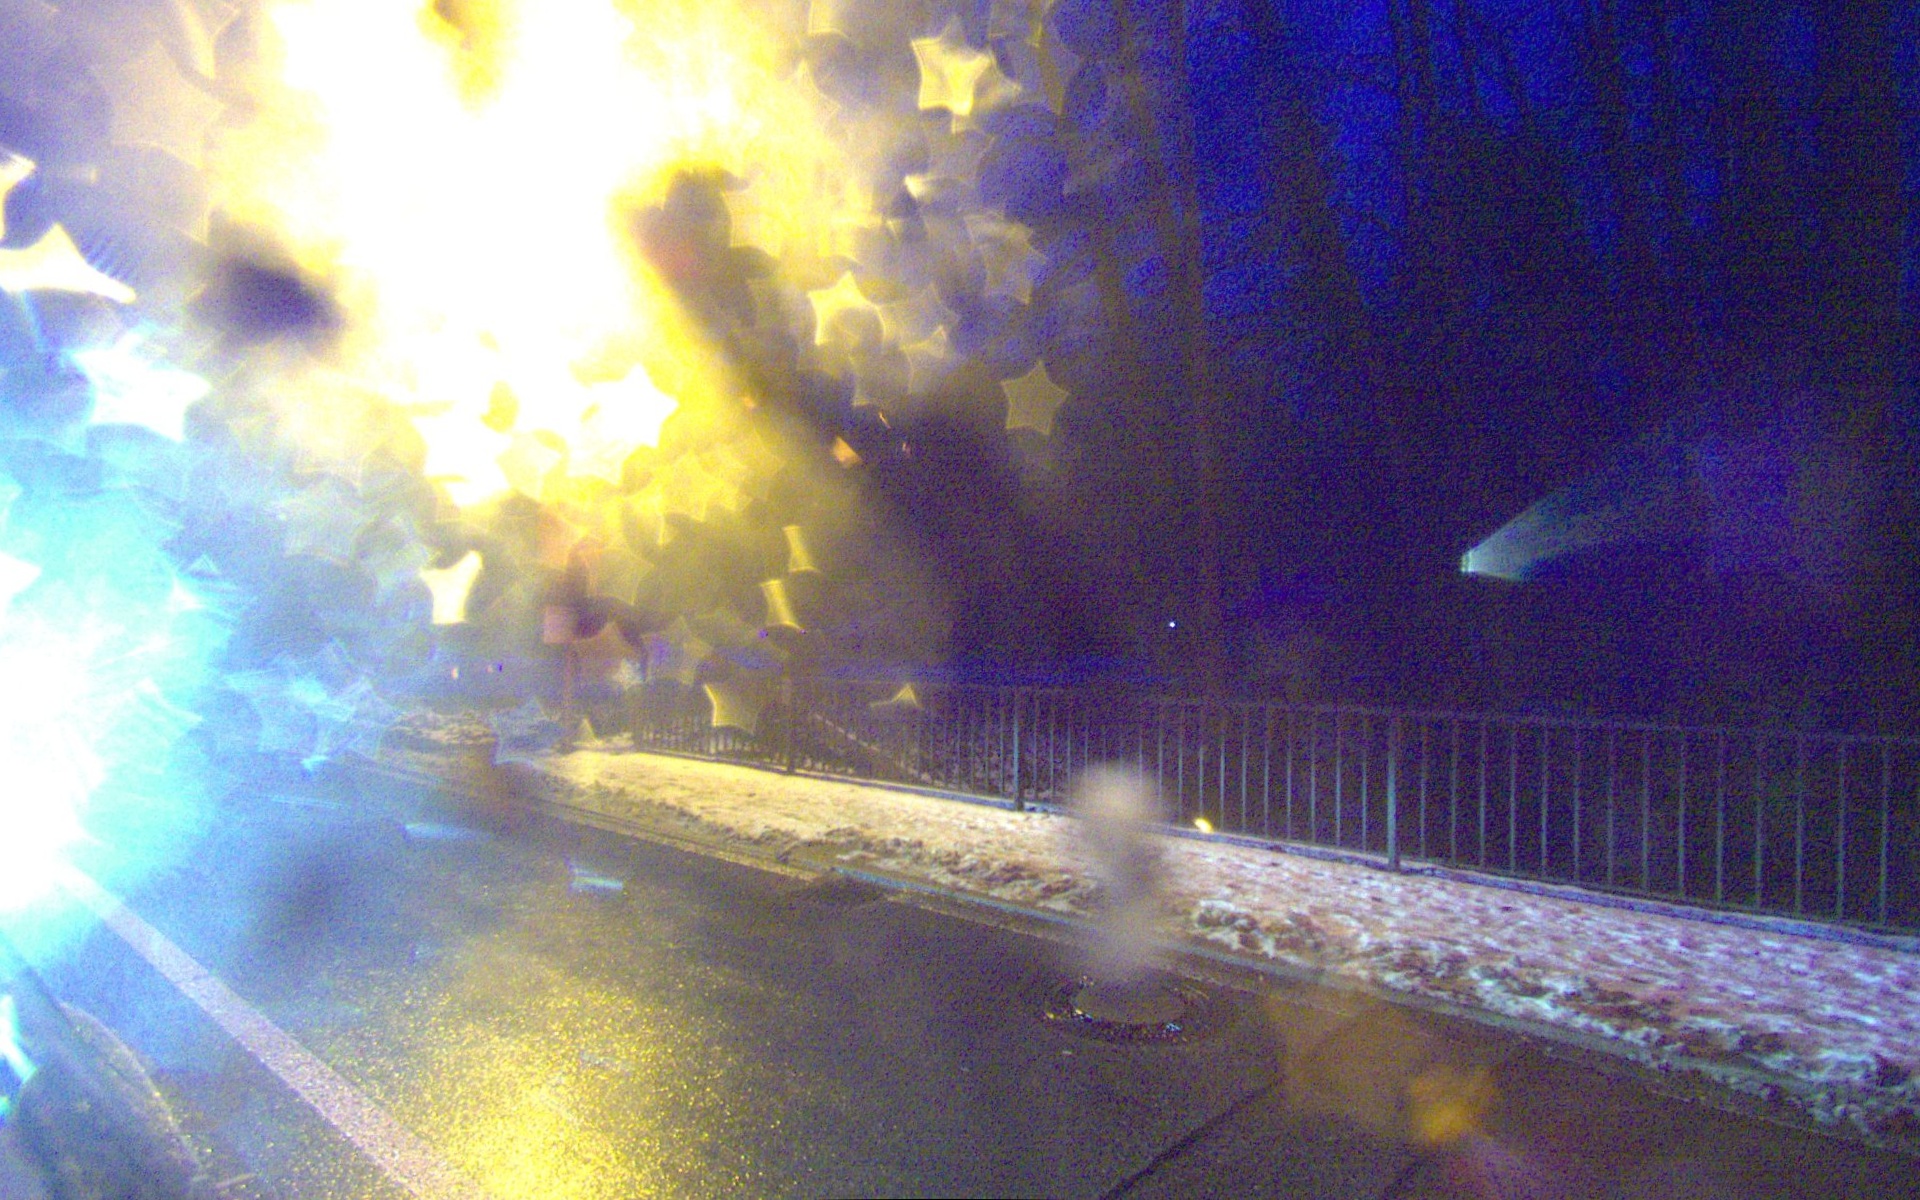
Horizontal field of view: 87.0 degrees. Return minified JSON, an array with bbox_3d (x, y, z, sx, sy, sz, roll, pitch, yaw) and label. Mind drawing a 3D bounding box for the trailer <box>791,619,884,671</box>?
[{"bbox_3d":[-5.765,2.115,47.749,3.745,2.234,1.980,4,-2,-31],"label":"trailer"}]
